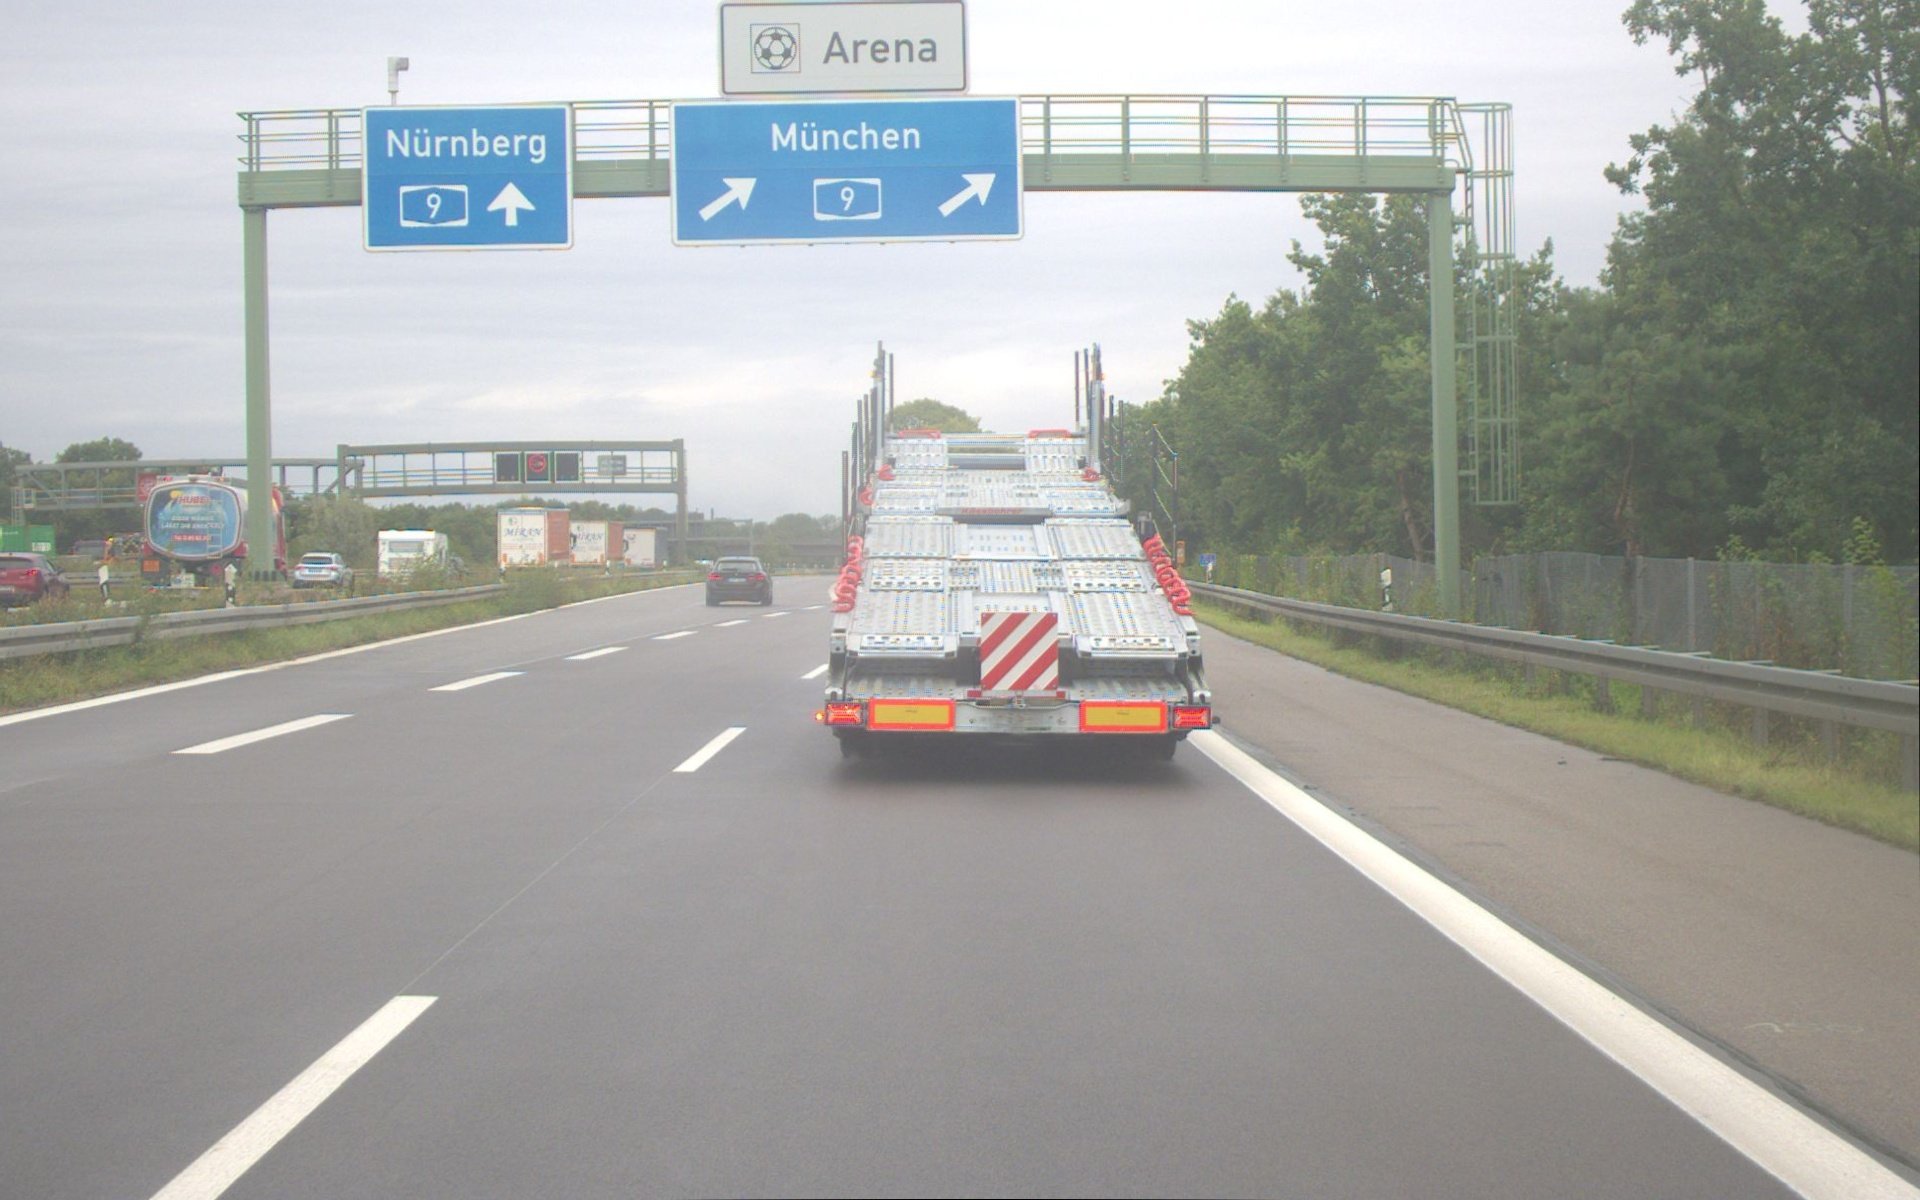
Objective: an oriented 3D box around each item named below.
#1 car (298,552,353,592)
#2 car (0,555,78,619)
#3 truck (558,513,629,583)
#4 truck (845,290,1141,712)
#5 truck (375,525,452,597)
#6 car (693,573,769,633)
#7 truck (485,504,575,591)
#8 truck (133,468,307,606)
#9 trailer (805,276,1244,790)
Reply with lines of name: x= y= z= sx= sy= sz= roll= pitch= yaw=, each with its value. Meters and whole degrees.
car: x=-25.228 y=-1.131 z=136.839 sx=1.682 sy=1.525 sz=4.001 roll=1 pitch=1 yaw=-4
car: x=-23.426 y=-0.321 z=86.095 sx=1.794 sy=1.551 sz=3.827 roll=1 pitch=0 yaw=-2
truck: x=-24.201 y=-3.442 z=227.802 sx=3.733 sy=4.402 sz=11.898 roll=1 pitch=1 yaw=-2
truck: x=0.219 y=-1.009 z=37.121 sx=2.738 sy=3.954 sz=9.129 roll=1 pitch=1 yaw=-1
truck: x=-21.122 y=-1.529 z=133.014 sx=2.243 sy=2.695 sz=5.280 roll=1 pitch=1 yaw=-2
car: x=-6.525 y=0.066 z=98.546 sx=1.961 sy=1.632 sz=5.625 roll=1 pitch=0 yaw=-2
truck: x=-22.679 y=-2.759 z=181.988 sx=3.733 sy=4.402 sz=10.196 roll=1 pitch=1 yaw=-2
truck: x=-19.050 y=-1.602 z=89.003 sx=2.856 sy=3.353 sz=8.632 roll=1 pitch=1 yaw=-2
trailer: x=0.368 y=-0.510 z=27.348 sx=2.777 sy=3.273 sz=10.407 roll=1 pitch=1 yaw=-1
